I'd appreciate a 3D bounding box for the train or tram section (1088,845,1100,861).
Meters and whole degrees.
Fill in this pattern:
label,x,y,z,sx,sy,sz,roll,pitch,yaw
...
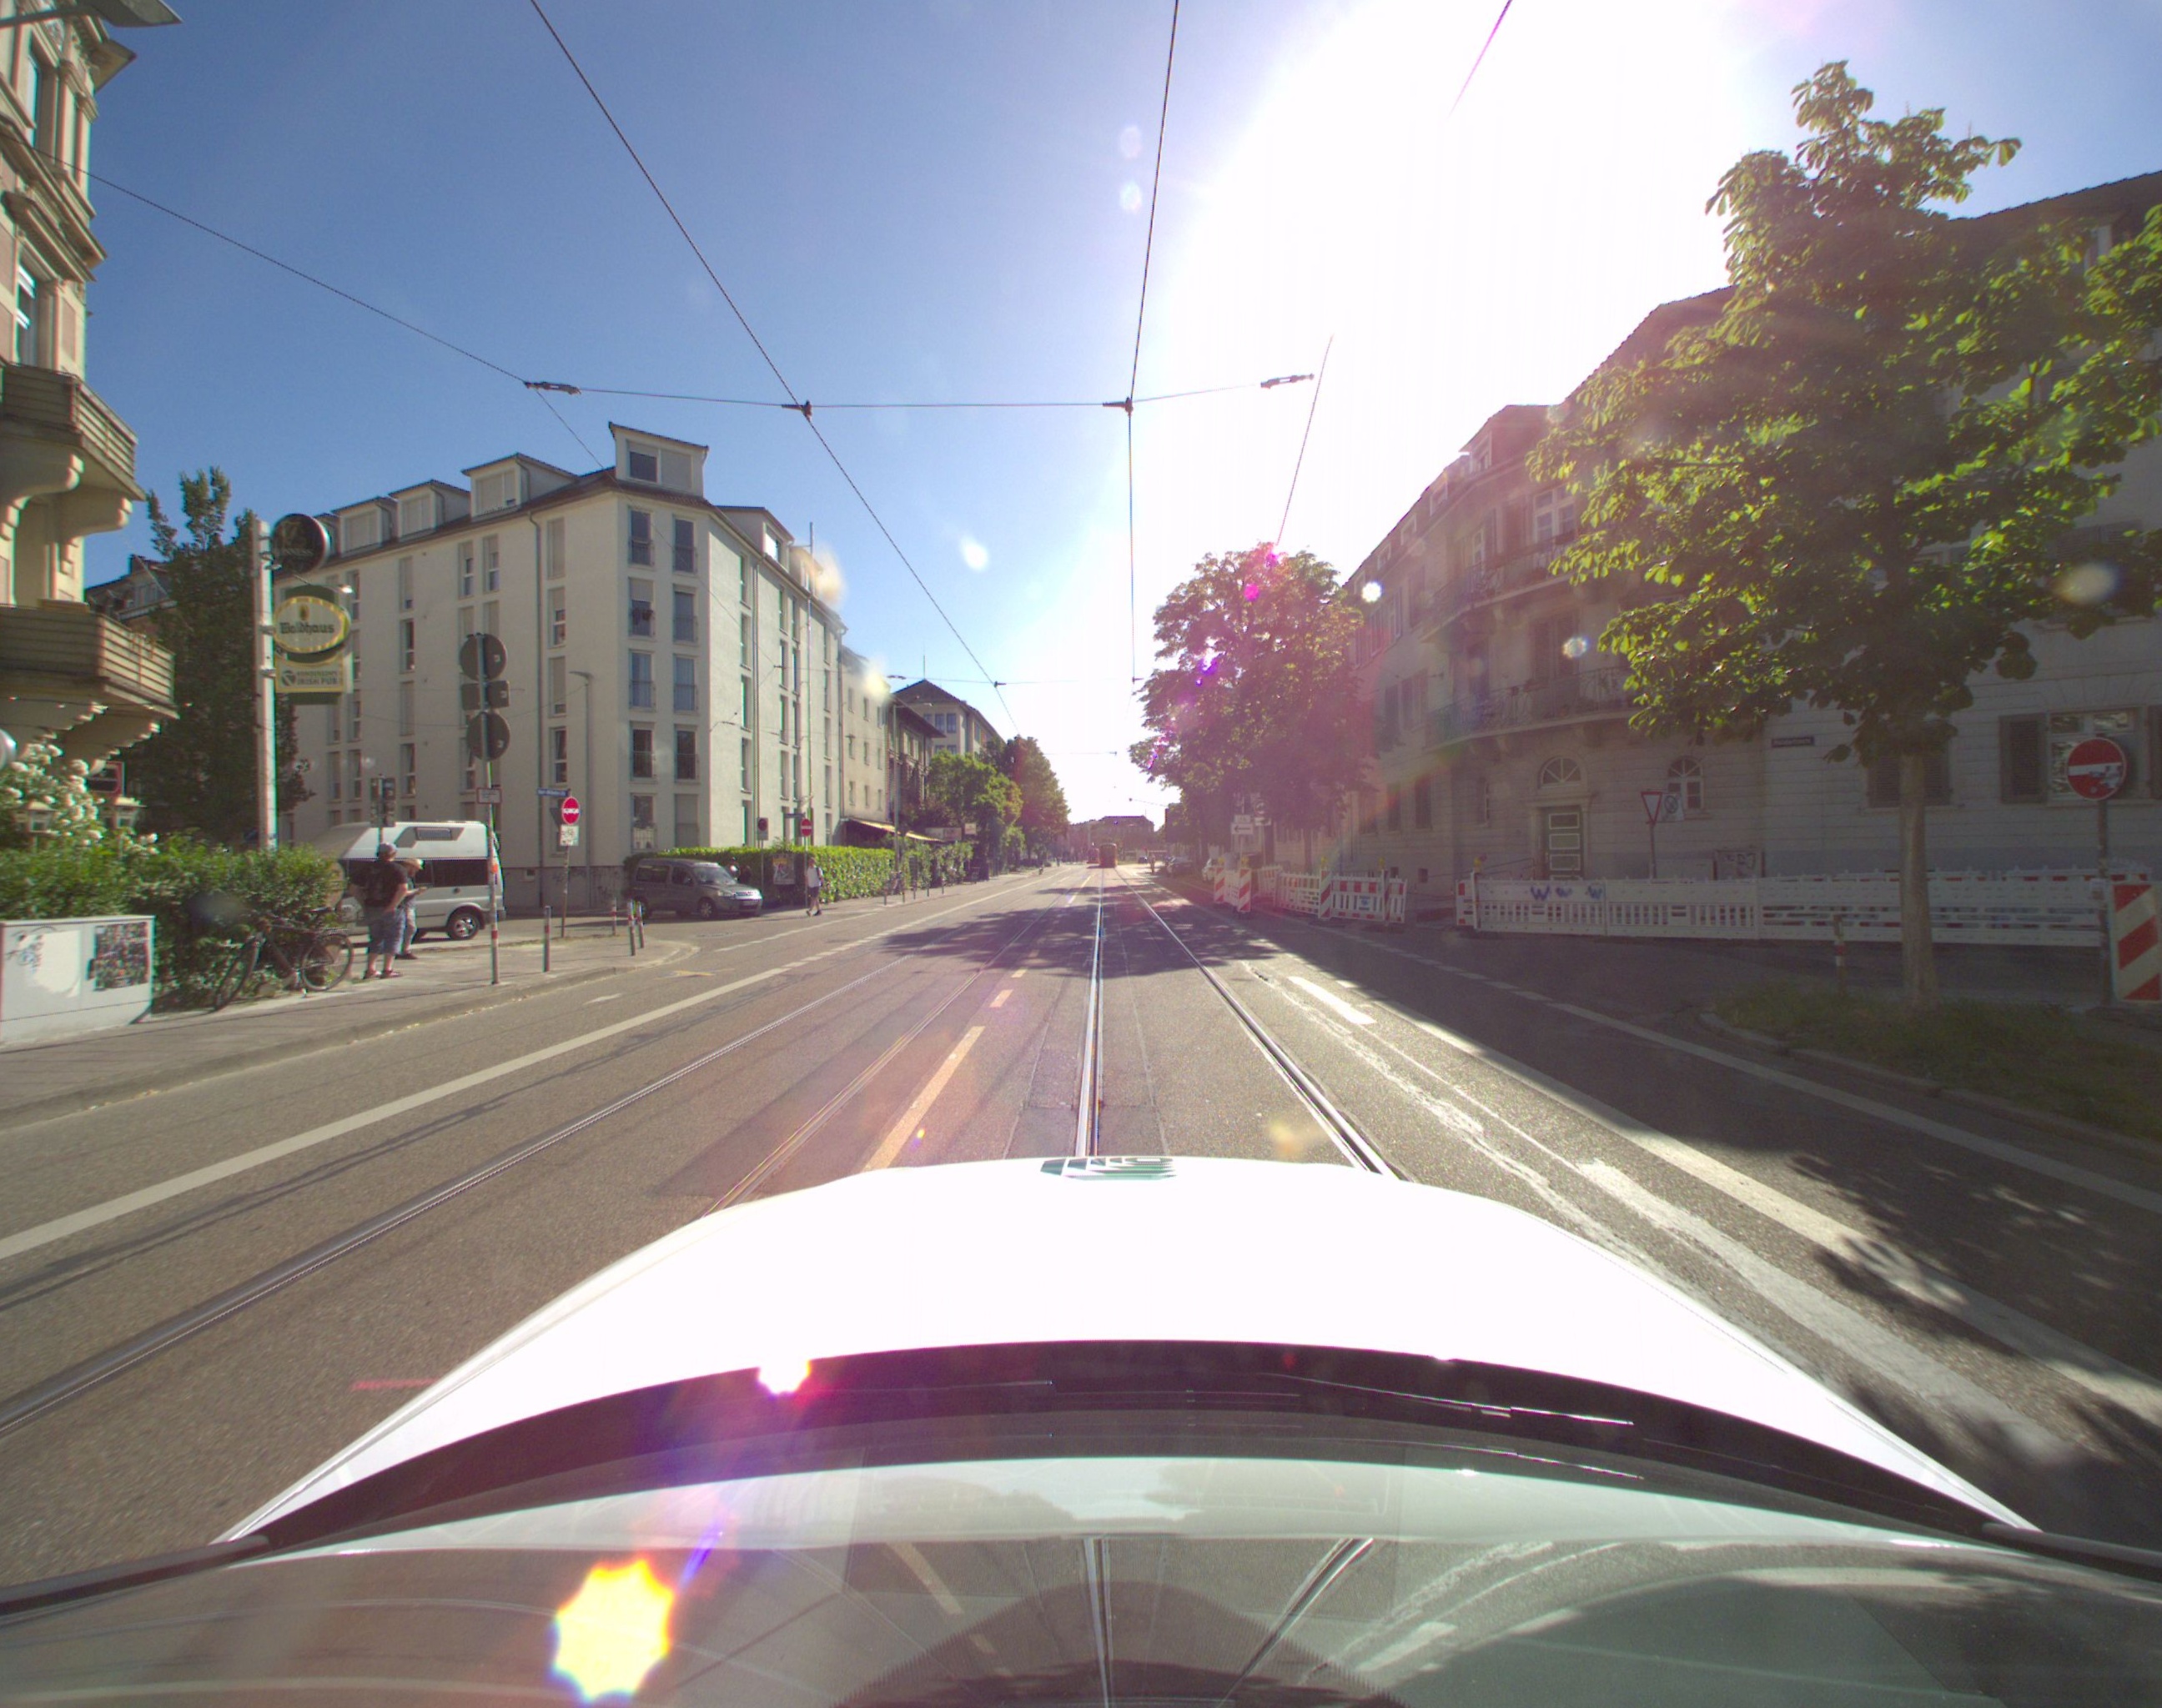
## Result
label,x,y,z,sx,sy,sz,roll,pitch,yaw
train or tram section,3.137,-0.196,195.358,2.732,3.651,13.788,-1,0,1

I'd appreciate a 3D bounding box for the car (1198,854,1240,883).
label,x,y,z,sx,sy,sz,roll,pitch,yaw
car,7.353,0.719,43.700,1.716,1.382,4.360,-3,0,3

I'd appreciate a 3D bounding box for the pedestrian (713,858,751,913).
label,x,y,z,sx,sy,sz,roll,pitch,yaw
pedestrian,-11.230,0.987,26.186,0.799,1.714,0.761,0,0,21

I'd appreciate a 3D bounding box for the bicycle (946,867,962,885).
label,x,y,z,sx,sy,sz,roll,pitch,yaw
bicycle,-7.712,1.313,49.457,0.636,1.059,1.744,1,0,3

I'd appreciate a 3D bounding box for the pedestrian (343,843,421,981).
label,x,y,z,sx,sy,sz,roll,pitch,yaw
pedestrian,-9.270,0.752,10.811,0.555,1.781,0.538,-1,-1,-2

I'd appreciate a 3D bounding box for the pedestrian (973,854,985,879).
label,x,y,z,sx,sy,sz,roll,pitch,yaw
pedestrian,-7.492,0.896,60.006,0.570,1.831,0.693,-1,-1,20

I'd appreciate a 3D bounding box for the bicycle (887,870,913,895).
label,x,y,z,sx,sy,sz,roll,pitch,yaw
bicycle,-8.228,1.267,37.042,0.659,1.089,1.841,2,-1,2

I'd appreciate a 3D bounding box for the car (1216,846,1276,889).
label,x,y,z,sx,sy,sz,roll,pitch,yaw
car,7.117,0.553,35.612,1.803,1.626,4.586,-3,0,2

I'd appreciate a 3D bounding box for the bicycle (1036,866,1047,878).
label,x,y,z,sx,sy,sz,roll,pitch,yaw
bicycle,-3.833,1.708,79.100,0.742,1.082,1.900,-4,0,3

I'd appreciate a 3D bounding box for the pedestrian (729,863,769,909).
label,x,y,z,sx,sy,sz,roll,pitch,yaw
pedestrian,-10.960,1.032,26.906,0.945,1.478,0.761,0,0,21

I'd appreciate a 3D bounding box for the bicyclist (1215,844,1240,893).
label,x,y,z,sx,sy,sz,roll,pitch,yaw
bicyclist,5.100,0.506,28.376,0.735,1.686,0.972,0,0,3

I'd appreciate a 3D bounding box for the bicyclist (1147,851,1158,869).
label,x,y,z,sx,sy,sz,roll,pitch,yaw
bicyclist,6.702,0.592,76.377,0.699,1.675,1.107,1,0,21

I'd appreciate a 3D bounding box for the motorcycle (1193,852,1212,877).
label,x,y,z,sx,sy,sz,roll,pitch,yaw
motorcycle,7.707,0.659,51.779,0.910,1.488,2.681,-3,0,3

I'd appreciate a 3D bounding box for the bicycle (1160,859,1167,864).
label,x,y,z,sx,sy,sz,roll,pitch,yaw
bicycle,16.571,1.501,163.271,0.698,1.055,2.327,1,1,26

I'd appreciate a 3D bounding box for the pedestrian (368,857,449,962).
label,x,y,z,sx,sy,sz,roll,pitch,yaw
pedestrian,-11.018,0.888,13.354,0.697,1.654,0.838,-2,-2,33

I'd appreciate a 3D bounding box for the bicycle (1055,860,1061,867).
label,x,y,z,sx,sy,sz,roll,pitch,yaw
bicycle,-3.953,1.673,139.330,0.683,1.124,1.934,-3,0,6

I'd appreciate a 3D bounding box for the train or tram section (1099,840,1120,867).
label,x,y,z,sx,sy,sz,roll,pitch,yaw
train or tram section,4.122,-0.113,119.997,2.732,3.651,13.788,-1,0,1

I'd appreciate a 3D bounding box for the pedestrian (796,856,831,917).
label,x,y,z,sx,sy,sz,roll,pitch,yaw
pedestrian,-7.975,0.965,24.334,0.689,1.768,0.867,-1,0,2

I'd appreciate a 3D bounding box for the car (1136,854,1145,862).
label,x,y,z,sx,sy,sz,roll,pitch,yaw
car,11.709,0.734,160.506,1.780,1.604,3.719,0,0,6

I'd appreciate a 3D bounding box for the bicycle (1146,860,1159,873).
label,x,y,z,sx,sy,sz,roll,pitch,yaw
bicycle,6.694,1.175,76.378,0.699,1.104,1.726,1,0,21

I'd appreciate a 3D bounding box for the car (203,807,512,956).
label,x,y,z,sx,sy,sz,roll,pitch,yaw
car,-15.647,0.586,18.046,1.871,2.841,4.806,-2,-2,18

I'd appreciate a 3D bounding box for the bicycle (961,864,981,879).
label,x,y,z,sx,sy,sz,roll,pitch,yaw
bicycle,-8.132,1.274,60.185,0.631,1.045,2.031,-1,0,18

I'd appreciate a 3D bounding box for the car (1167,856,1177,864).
label,x,y,z,sx,sy,sz,roll,pitch,yaw
car,18.083,1.171,161.646,1.781,1.511,3.717,0,0,4

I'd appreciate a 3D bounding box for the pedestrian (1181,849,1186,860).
label,x,y,z,sx,sy,sz,roll,pitch,yaw
pedestrian,17.875,0.031,142.165,0.635,1.903,1.135,-3,0,3

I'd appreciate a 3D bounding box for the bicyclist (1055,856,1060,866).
label,x,y,z,sx,sy,sz,roll,pitch,yaw
bicyclist,-3.984,1.126,139.316,0.683,1.644,1.239,-3,-1,6

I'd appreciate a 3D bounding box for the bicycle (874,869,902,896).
label,x,y,z,sx,sy,sz,roll,pitch,yaw
bicycle,-8.276,1.210,35.061,0.659,1.089,1.841,2,-1,2

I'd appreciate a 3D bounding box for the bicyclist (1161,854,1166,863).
label,x,y,z,sx,sy,sz,roll,pitch,yaw
bicyclist,16.583,0.910,163.260,0.698,1.700,0.993,1,1,26

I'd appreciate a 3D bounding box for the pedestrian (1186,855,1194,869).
label,x,y,z,sx,sy,sz,roll,pitch,yaw
pedestrian,12.890,0.916,96.668,0.853,1.641,0.994,-2,-2,4

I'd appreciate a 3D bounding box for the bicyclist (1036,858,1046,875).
label,x,y,z,sx,sy,sz,roll,pitch,yaw
bicyclist,-3.868,1.205,79.104,0.742,1.599,1.118,-4,-1,3

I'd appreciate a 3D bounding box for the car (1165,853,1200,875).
label,x,y,z,sx,sy,sz,roll,pitch,yaw
car,7.436,0.702,60.007,1.817,1.458,4.815,-3,0,-2

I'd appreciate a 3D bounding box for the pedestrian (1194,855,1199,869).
label,x,y,z,sx,sy,sz,roll,pitch,yaw
pedestrian,12.953,0.922,91.557,0.515,1.600,0.765,-2,-1,4

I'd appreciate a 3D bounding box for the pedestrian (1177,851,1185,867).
label,x,y,z,sx,sy,sz,roll,pitch,yaw
pedestrian,11.252,0.578,91.934,0.681,1.849,0.955,-3,0,0

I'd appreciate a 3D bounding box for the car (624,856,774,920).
label,x,y,z,sx,sy,sz,roll,pitch,yaw
car,-11.441,1.028,24.395,4.005,1.807,1.801,-2,-2,22

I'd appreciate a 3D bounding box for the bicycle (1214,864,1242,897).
label,x,y,z,sx,sy,sz,roll,pitch,yaw
bicycle,5.101,0.895,28.410,0.735,1.094,2.113,0,0,4

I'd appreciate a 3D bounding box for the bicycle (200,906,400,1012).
label,x,y,z,sx,sy,sz,roll,pitch,yaw
bicycle,-8.843,1.146,9.331,0.525,0.981,1.778,-1,0,2
